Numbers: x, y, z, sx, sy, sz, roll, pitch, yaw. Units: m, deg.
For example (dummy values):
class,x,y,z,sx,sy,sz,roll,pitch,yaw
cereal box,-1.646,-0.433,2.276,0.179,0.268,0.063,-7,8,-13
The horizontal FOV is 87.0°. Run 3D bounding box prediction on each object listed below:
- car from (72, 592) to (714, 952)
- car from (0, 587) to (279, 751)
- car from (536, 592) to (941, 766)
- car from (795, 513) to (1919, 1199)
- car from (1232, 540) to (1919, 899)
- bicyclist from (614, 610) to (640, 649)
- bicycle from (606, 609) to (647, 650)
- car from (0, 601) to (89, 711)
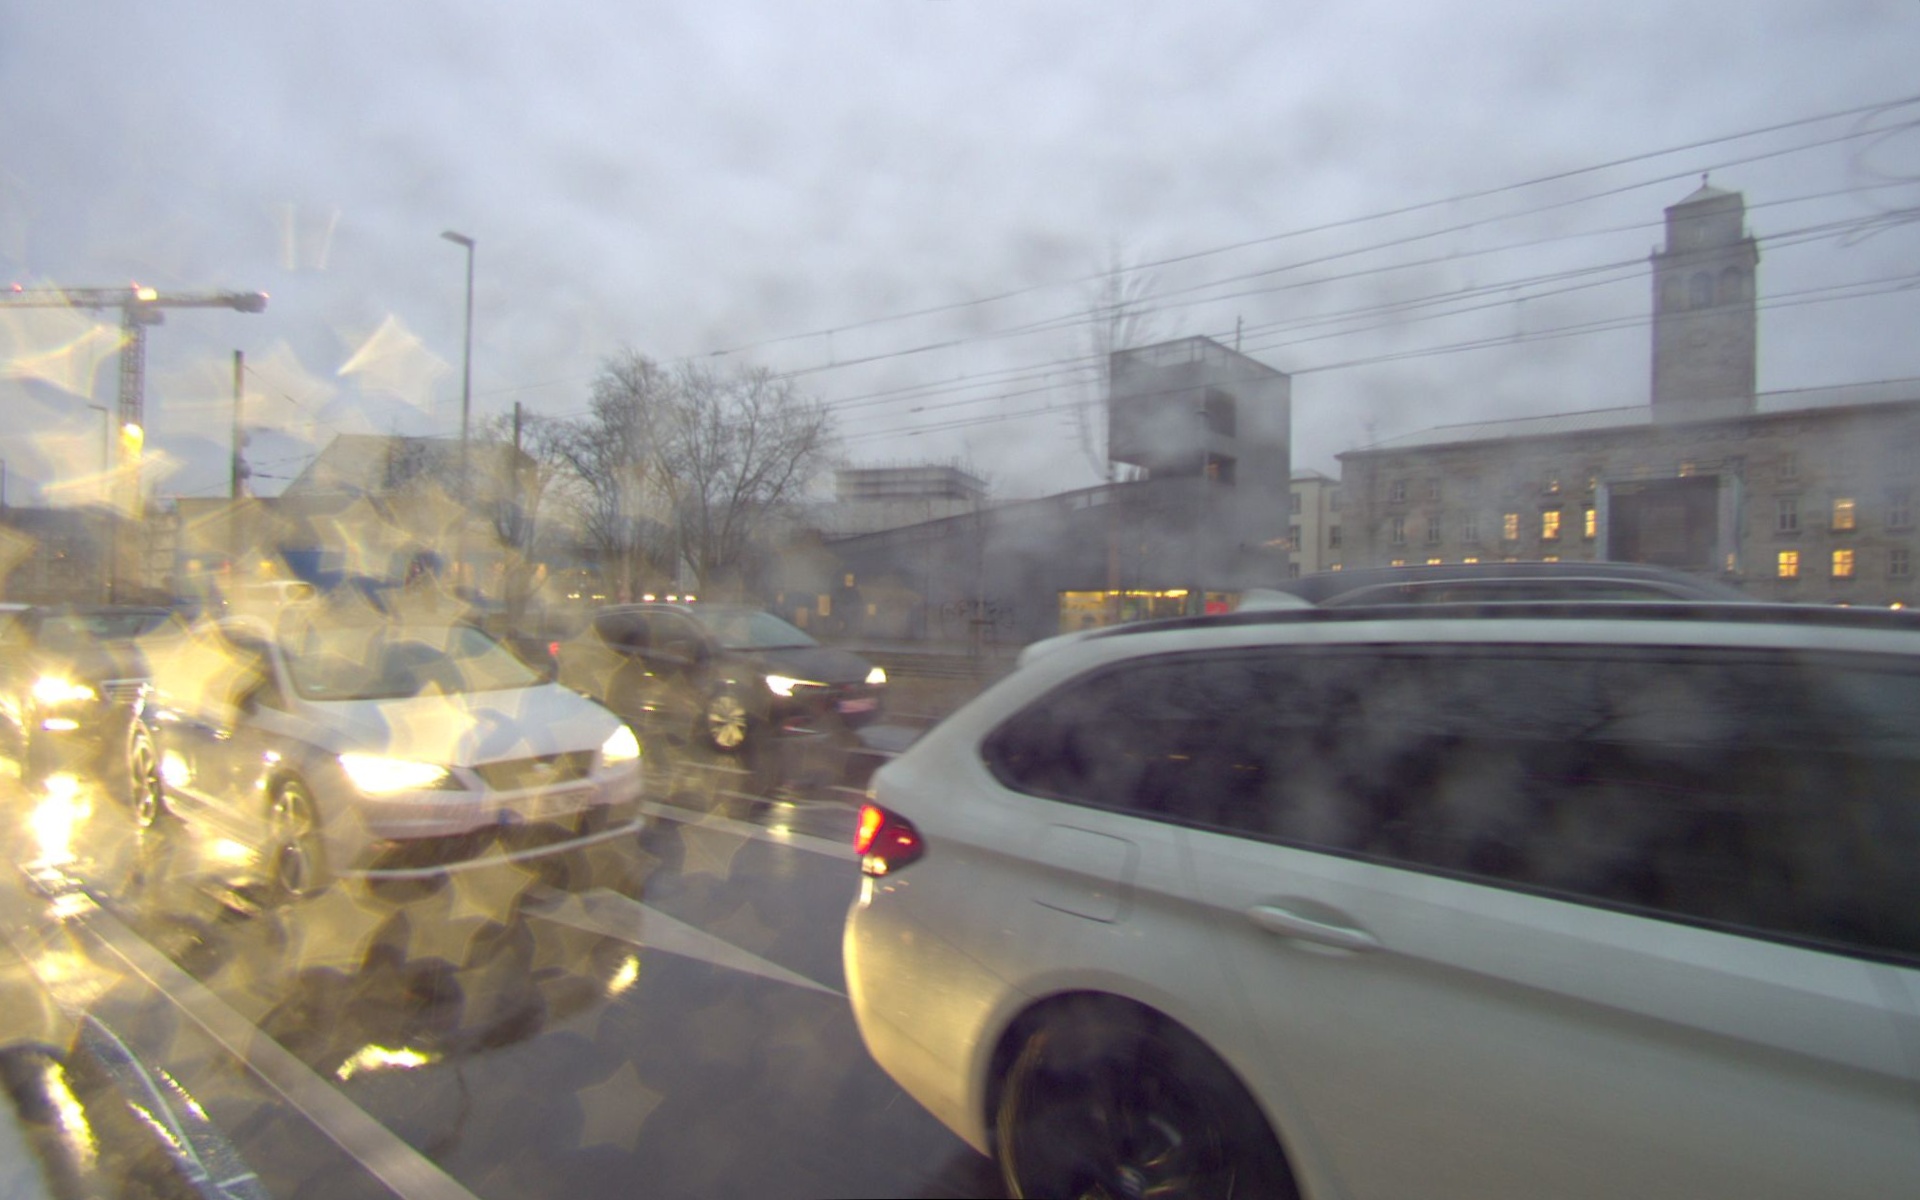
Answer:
class,x,y,z,sx,sy,sz,roll,pitch,yaw
car,-3.763,0.722,6.380,4.499,1.498,1.926,0,0,38
car,-9.638,0.659,11.448,4.501,1.498,1.974,0,-1,39
car,-2.567,0.688,11.042,4.659,1.519,1.830,0,0,39
car,1.972,0.666,1.785,4.557,1.498,1.997,0,-1,40
car,4.045,0.536,6.027,4.288,1.596,1.946,0,-1,42
bicyclist,-15.225,1.329,46.258,0.960,1.746,0.754,1,1,38
bicycle,-15.243,1.331,46.268,2.061,1.746,0.754,2,1,38
car,-15.486,0.825,16.133,3.998,1.586,1.882,0,0,41
